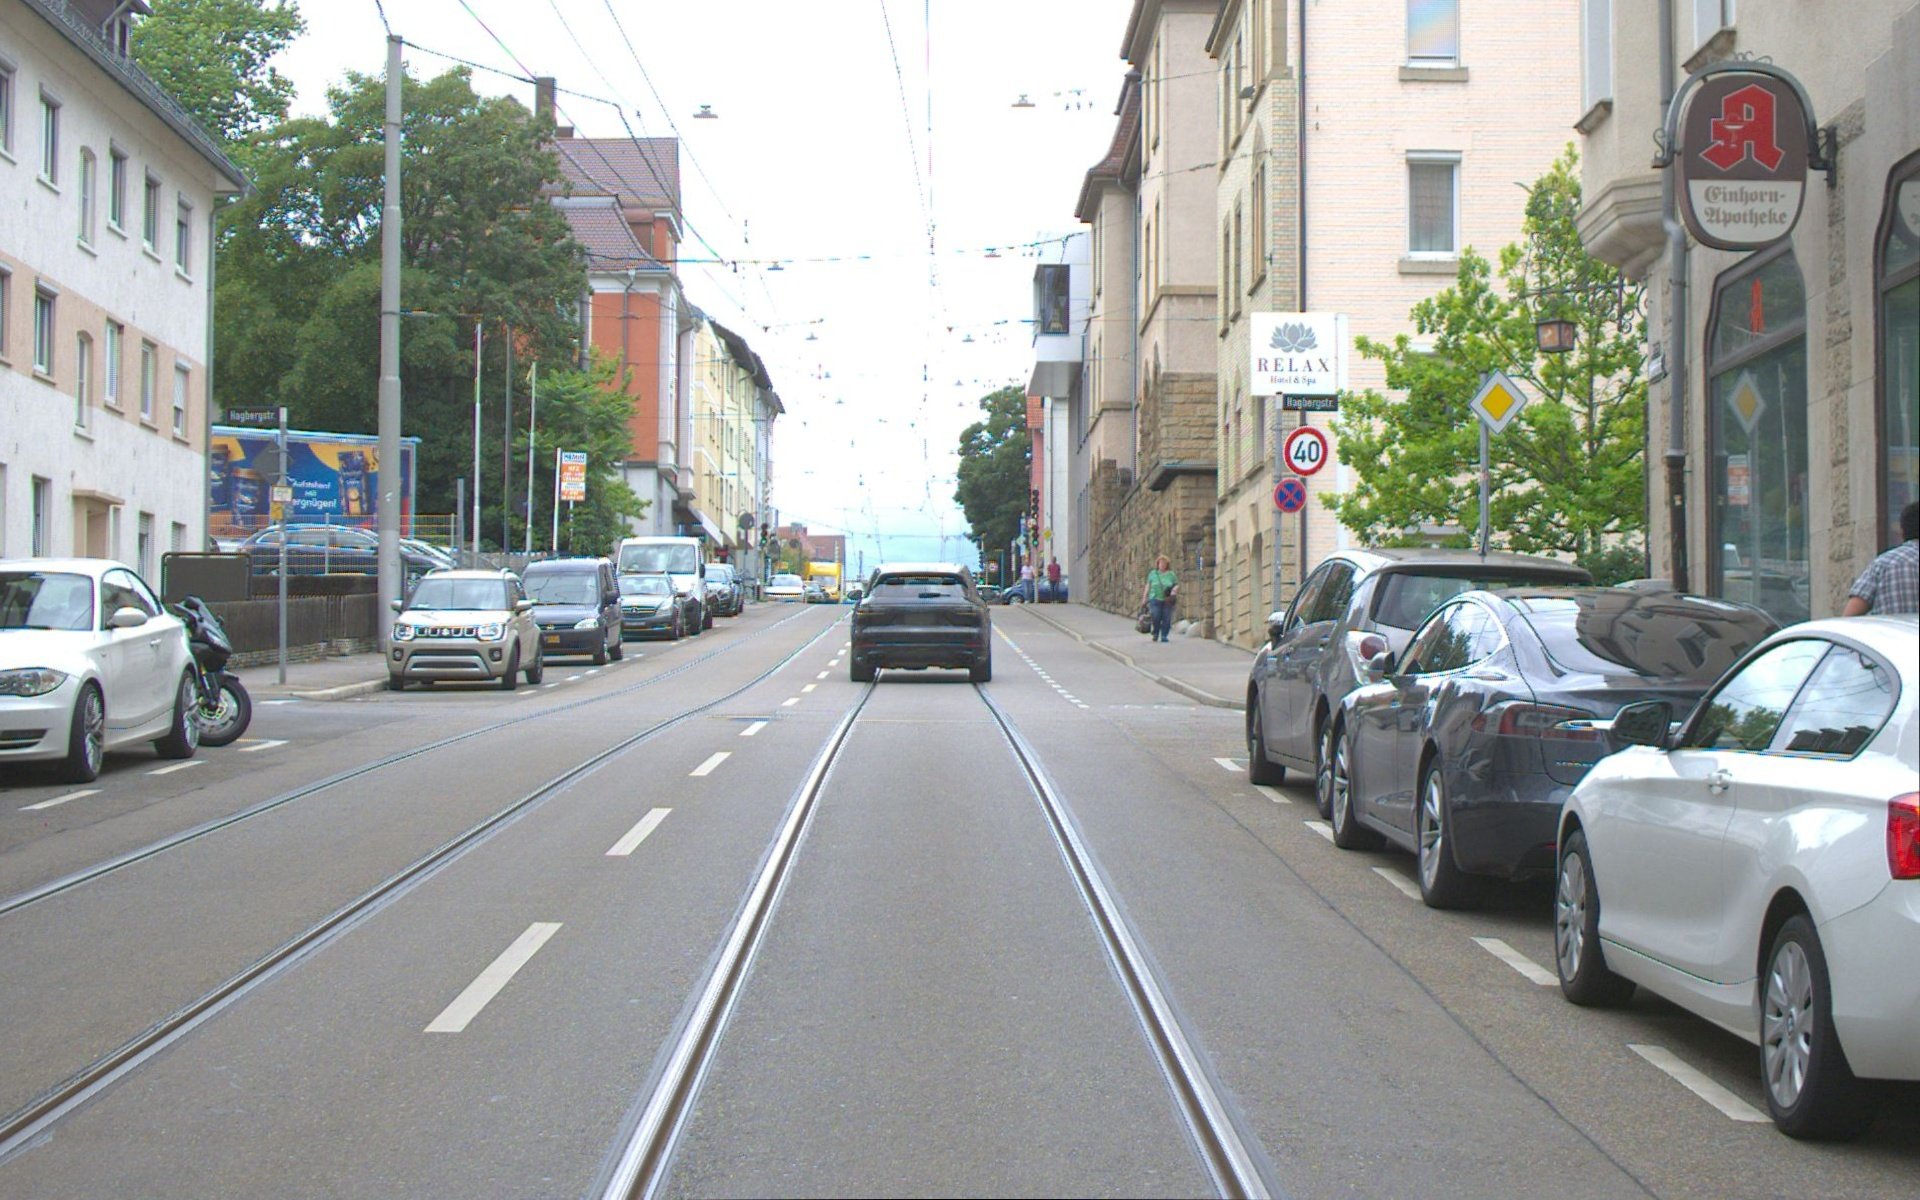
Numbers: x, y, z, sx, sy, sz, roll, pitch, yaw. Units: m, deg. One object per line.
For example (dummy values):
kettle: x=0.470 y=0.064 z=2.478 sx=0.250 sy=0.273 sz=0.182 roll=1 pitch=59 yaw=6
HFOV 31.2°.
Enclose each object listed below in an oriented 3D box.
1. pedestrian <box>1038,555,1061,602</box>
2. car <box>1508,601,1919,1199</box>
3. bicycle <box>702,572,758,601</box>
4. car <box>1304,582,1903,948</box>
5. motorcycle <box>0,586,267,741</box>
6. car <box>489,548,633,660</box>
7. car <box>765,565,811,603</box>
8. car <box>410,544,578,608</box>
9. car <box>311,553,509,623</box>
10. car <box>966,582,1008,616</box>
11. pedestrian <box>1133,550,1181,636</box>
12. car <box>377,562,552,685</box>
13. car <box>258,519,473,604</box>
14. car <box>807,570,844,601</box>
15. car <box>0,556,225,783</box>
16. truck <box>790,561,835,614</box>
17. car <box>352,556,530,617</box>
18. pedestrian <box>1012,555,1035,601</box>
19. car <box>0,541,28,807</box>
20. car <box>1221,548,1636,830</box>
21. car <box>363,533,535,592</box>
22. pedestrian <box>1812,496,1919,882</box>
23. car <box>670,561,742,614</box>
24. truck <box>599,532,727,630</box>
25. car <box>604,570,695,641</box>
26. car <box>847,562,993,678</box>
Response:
pedestrian: x=3.263 y=-0.785 z=125.002 sx=0.791 sy=1.661 sz=0.798 roll=1 pitch=1 yaw=2
car: x=2.965 y=0.762 z=10.375 sx=1.750 sy=1.386 sz=4.308 roll=3 pitch=1 yaw=-2
bicycle: x=-8.040 y=-0.468 z=120.348 sx=1.911 sy=0.996 sz=0.479 roll=1 pitch=1 yaw=0
car: x=2.863 y=0.665 z=16.387 sx=1.779 sy=1.386 sz=4.692 roll=3 pitch=1 yaw=-2
motorcycle: x=-6.410 y=0.482 z=26.095 sx=2.110 sy=1.130 sz=0.766 roll=-1 pitch=1 yaw=13
car: x=-6.543 y=0.041 z=56.746 sx=1.744 sy=1.730 sz=4.519 roll=-1 pitch=1 yaw=1
car: x=-7.492 y=-0.704 z=150.024 sx=1.855 sy=1.601 sz=4.297 roll=1 pitch=1 yaw=-1
car: x=-11.662 y=-0.597 z=85.902 sx=3.958 sy=1.546 sz=1.689 roll=1 pitch=1 yaw=-15
car: x=-11.958 y=-0.270 z=74.912 sx=4.060 sy=1.440 sz=1.688 roll=1 pitch=1 yaw=-1
car: x=1.326 y=-0.064 z=168.170 sx=1.993 sy=1.558 sz=4.290 roll=1 pitch=1 yaw=0
pedestrian: x=3.919 y=-0.149 z=68.414 sx=0.870 sy=1.680 sz=0.663 roll=-1 pitch=0 yaw=-2
car: x=-6.539 y=0.281 z=45.729 sx=1.697 sy=1.551 sz=3.850 roll=1 pitch=1 yaw=1
car: x=-12.112 y=-0.781 z=70.170 sx=4.060 sy=1.547 sz=1.688 roll=2 pitch=1 yaw=-1
car: x=-7.136 y=-0.760 z=182.562 sx=1.855 sy=1.601 sz=4.297 roll=1 pitch=1 yaw=-1
car: x=-6.254 y=0.391 z=22.803 sx=1.780 sy=1.353 sz=4.291 roll=0 pitch=1 yaw=1
truck: x=-8.672 y=-0.721 z=202.865 sx=2.302 sy=3.026 sz=9.034 roll=1 pitch=0 yaw=-1
car: x=-12.015 y=-0.323 z=79.706 sx=3.876 sy=1.352 sz=1.688 roll=1 pitch=1 yaw=-1
pedestrian: x=2.311 y=-0.810 z=125.020 sx=0.791 sy=1.661 sz=0.798 roll=1 pitch=1 yaw=2
car: x=-6.140 y=0.442 z=17.940 sx=1.697 sy=1.463 sz=3.023 roll=-2 pitch=1 yaw=0
car: x=2.839 y=0.477 z=21.817 sx=1.735 sy=1.532 sz=4.575 roll=3 pitch=1 yaw=-3
car: x=-12.212 y=-0.906 z=82.303 sx=3.876 sy=1.352 sz=1.688 roll=1 pitch=1 yaw=-1
pedestrian: x=4.448 y=0.417 z=16.363 sx=0.599 sy=1.797 sz=0.632 roll=1 pitch=0 yaw=-1
car: x=-7.137 y=-0.377 z=96.909 sx=1.712 sy=1.441 sz=4.290 roll=1 pitch=1 yaw=0
truck: x=-6.996 y=-0.481 z=81.911 sx=2.280 sy=2.180 sz=8.025 roll=1 pitch=1 yaw=0
car: x=-6.724 y=0.095 z=74.784 sx=1.697 sy=1.428 sz=4.482 roll=-1 pitch=1 yaw=-2
car: x=-0.550 y=0.250 z=49.418 sx=1.993 sy=1.558 sz=4.290 roll=1 pitch=1 yaw=0
